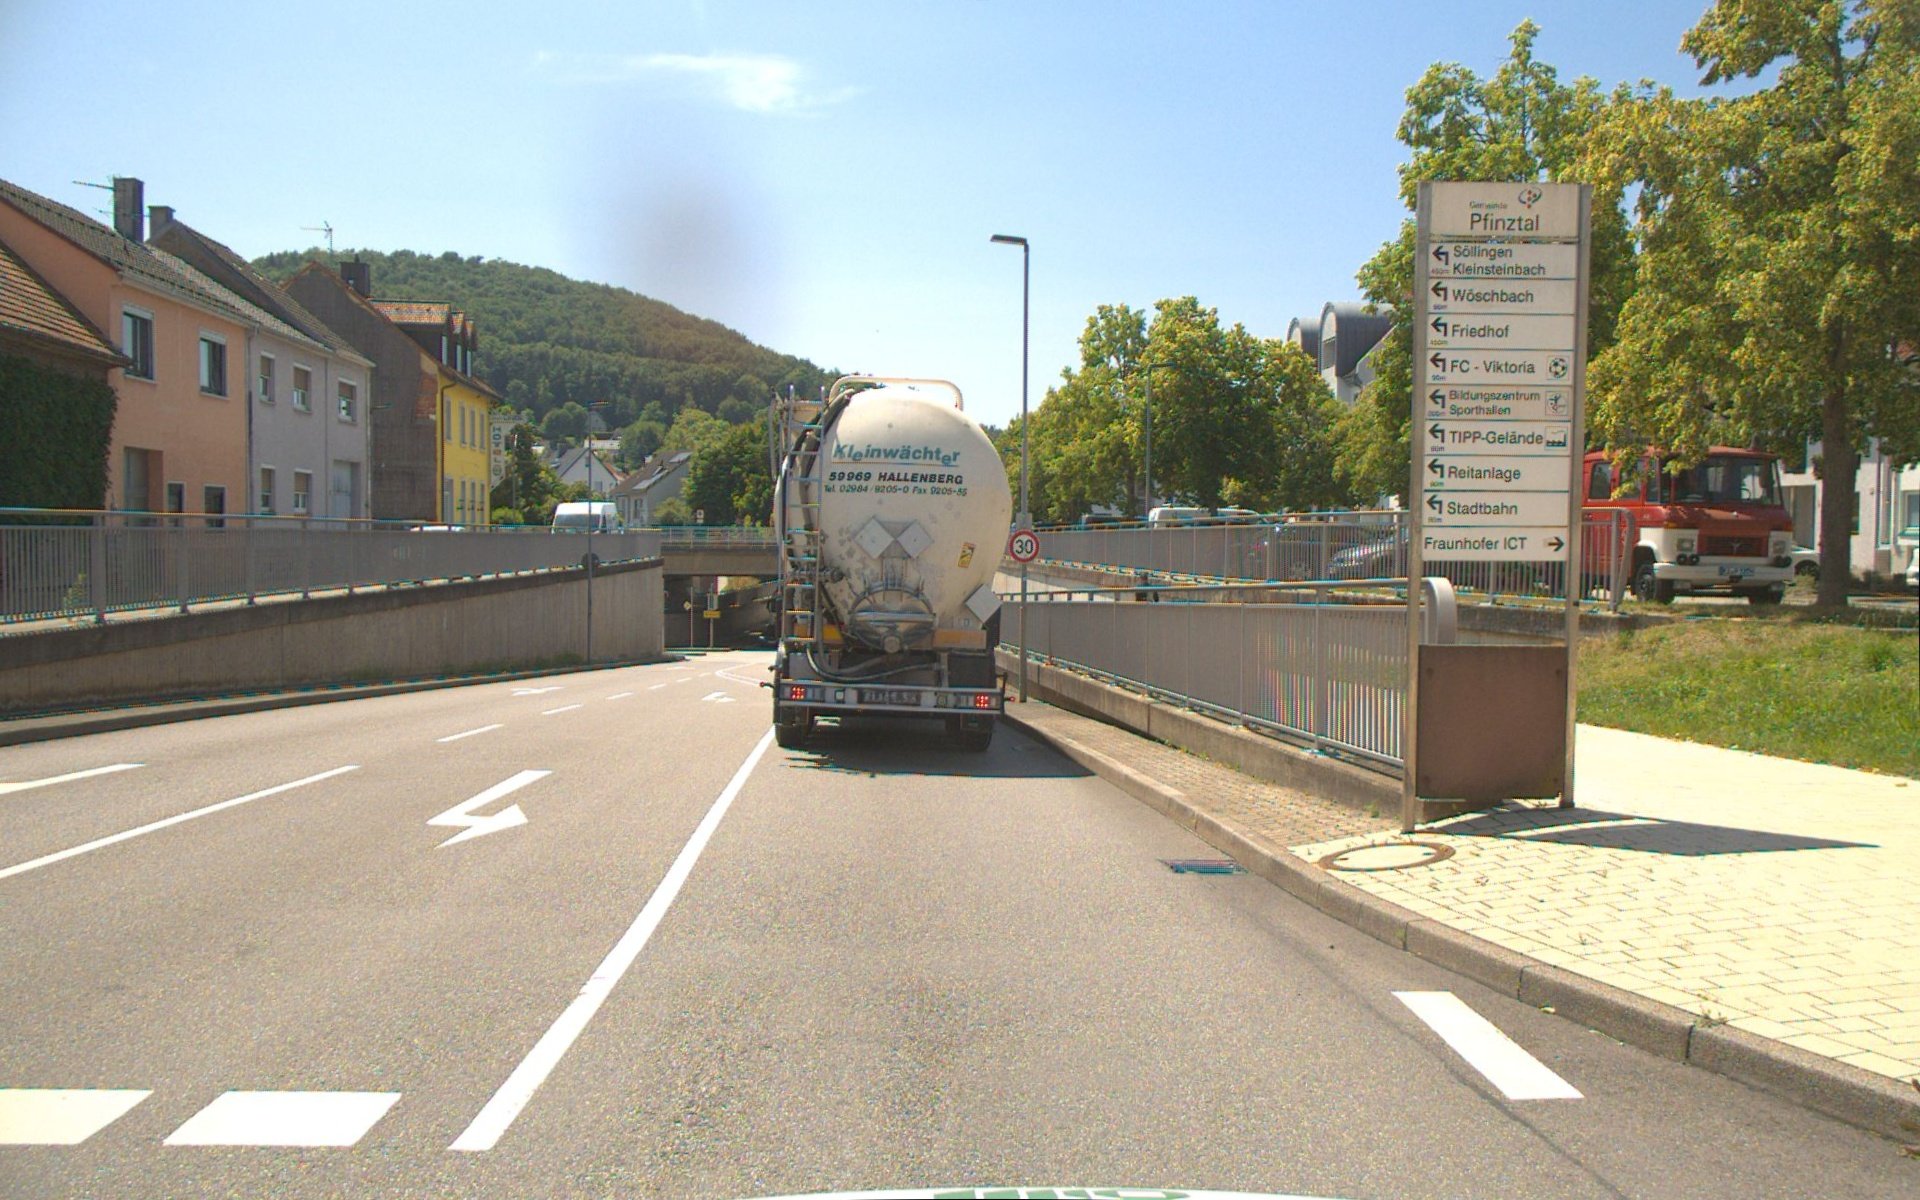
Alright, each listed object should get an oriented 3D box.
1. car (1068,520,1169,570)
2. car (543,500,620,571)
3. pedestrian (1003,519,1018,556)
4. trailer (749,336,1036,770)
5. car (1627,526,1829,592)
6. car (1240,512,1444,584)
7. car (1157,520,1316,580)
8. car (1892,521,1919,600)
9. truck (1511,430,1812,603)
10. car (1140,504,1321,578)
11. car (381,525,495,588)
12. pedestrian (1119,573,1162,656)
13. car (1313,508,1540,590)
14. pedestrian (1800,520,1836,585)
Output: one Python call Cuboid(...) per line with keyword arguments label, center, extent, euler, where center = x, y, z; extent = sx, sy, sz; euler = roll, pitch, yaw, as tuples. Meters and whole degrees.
Cuboid(label="car", center=(6.314, -2.204, 66.068), extent=(3.828, 1.918, 1.685), euler=(0, 2, -3))
Cuboid(label="car", center=(-14.895, -2.524, 65.359), extent=(2.025, 2.580, 5.657), euler=(2, 2, -4))
Cuboid(label="pedestrian", center=(2.447, -3.035, 80.349), extent=(0.659, 1.810, 0.594), euler=(0, 1, -2))
Cuboid(label="trailer", center=(-1.064, -0.368, 22.721), extent=(2.681, 4.136, 13.301), euler=(2, -1, -4))
Cuboid(label="car", center=(19.279, -1.039, 41.619), extent=(4.319, 1.515, 1.756), euler=(-1, 2, -4))
Cuboid(label="car", center=(8.476, -1.158, 36.900), extent=(4.120, 1.524, 1.685), euler=(0, 2, -3))
Cuboid(label="car", center=(7.717, -1.400, 46.423), extent=(4.120, 1.624, 1.685), euler=(0, 2, -3))
Cuboid(label="car", center=(20.059, -0.791, 31.357), extent=(3.859, 1.504, 1.756), euler=(-1, 2, -4))
Cuboid(label="truck", center=(10.688, -1.243, 25.750), extent=(2.090, 2.375, 5.256), euler=(1, 2, -5))
Cuboid(label="car", center=(8.003, -1.736, 49.201), extent=(5.010, 2.099, 1.988), euler=(0, 2, -3))
Cuboid(label="car", center=(-13.373, -1.141, 42.624), extent=(1.777, 1.487, 4.307), euler=(2, 2, -4))
Cuboid(label="pedestrian", center=(4.009, 0.317, 36.723), extent=(0.819, 1.813, 0.788), euler=(0, -1, -4))
Cuboid(label="car", center=(9.068, -0.988, 32.311), extent=(3.907, 1.524, 1.748), euler=(0, 2, -3))
Cuboid(label="pedestrian", center=(20.735, -1.152, 39.961), extent=(0.603, 1.537, 0.737), euler=(0, 3, 42))
